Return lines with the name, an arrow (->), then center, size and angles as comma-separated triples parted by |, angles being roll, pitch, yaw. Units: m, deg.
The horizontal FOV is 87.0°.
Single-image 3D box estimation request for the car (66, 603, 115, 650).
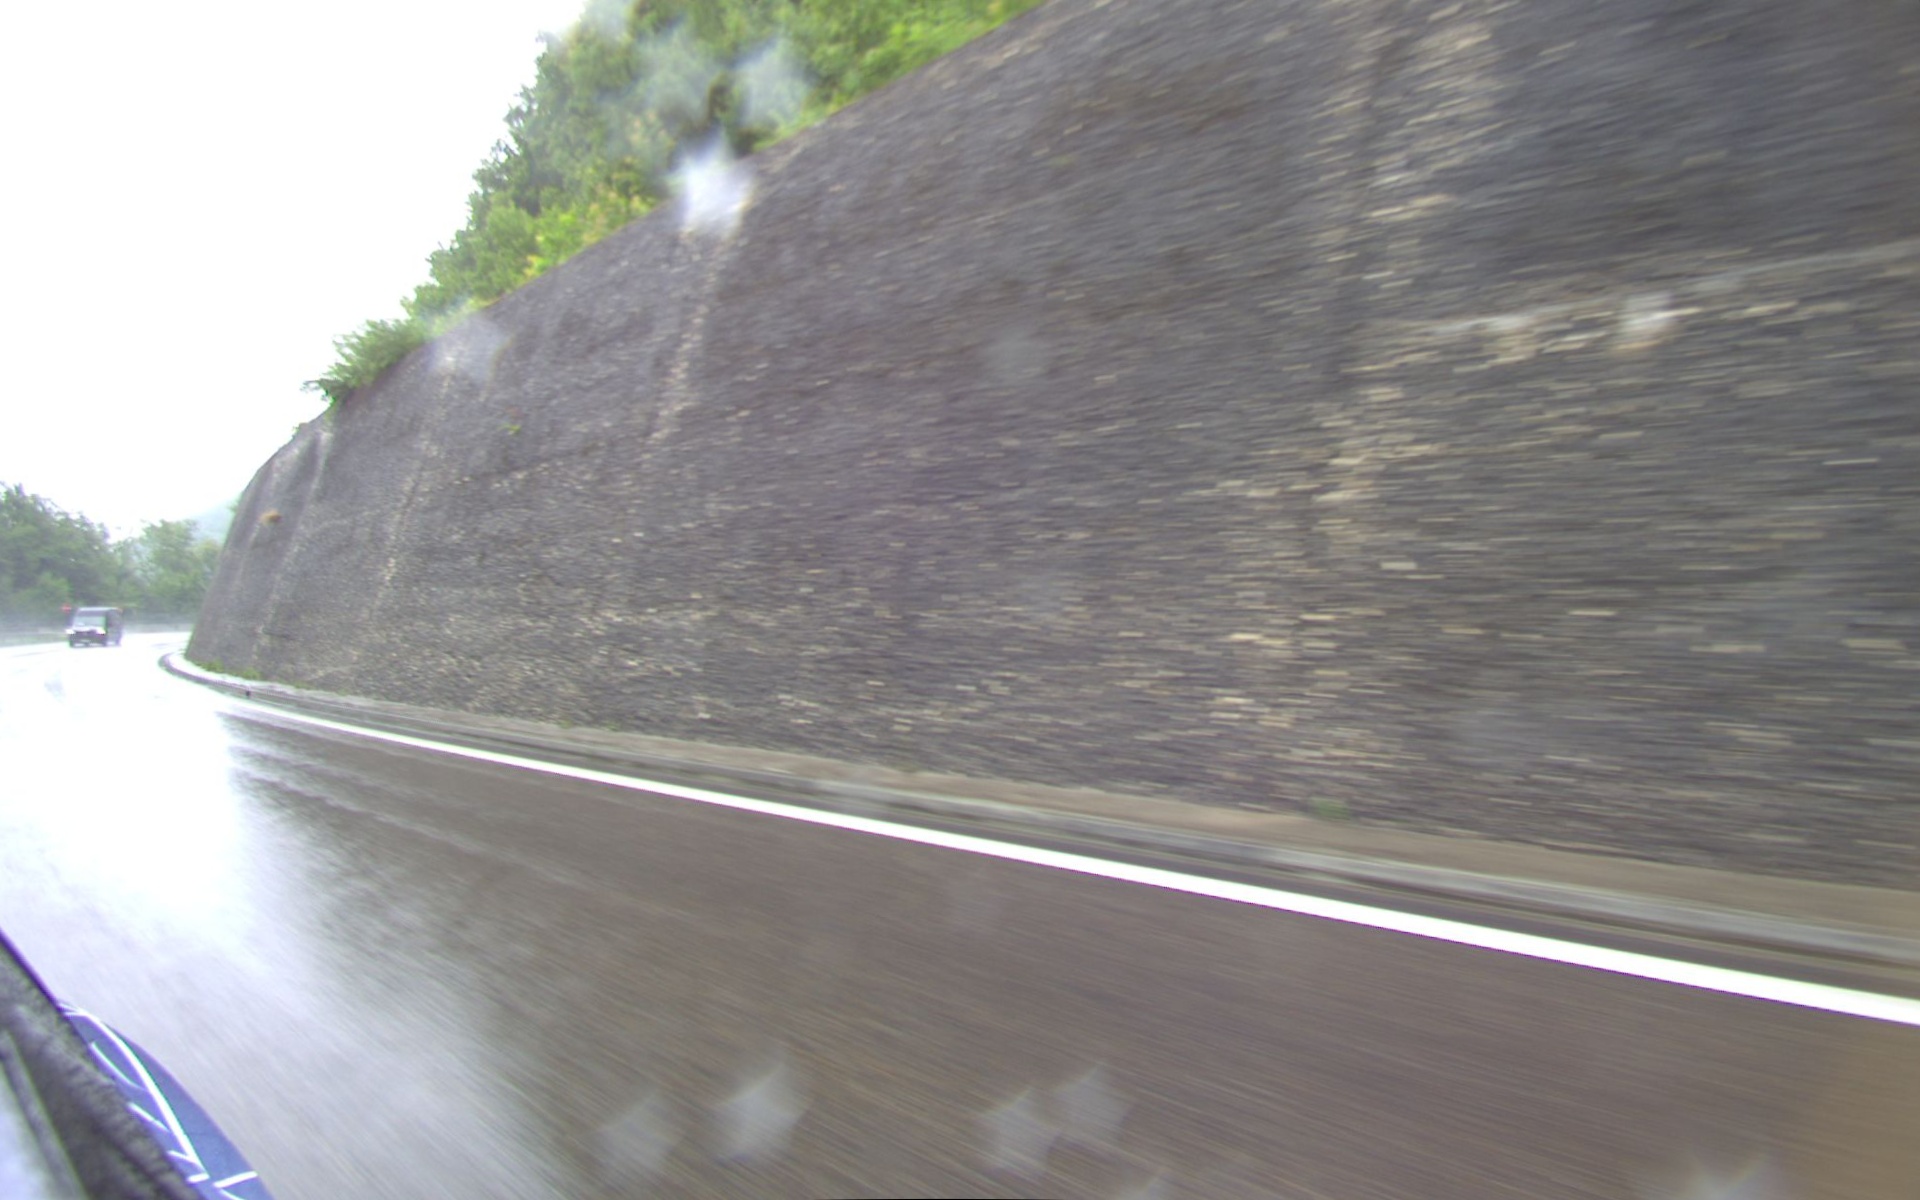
car -> -58.987, 1.777, 68.719 | 1.713, 3.048, 4.012 | 1, -1, -30
